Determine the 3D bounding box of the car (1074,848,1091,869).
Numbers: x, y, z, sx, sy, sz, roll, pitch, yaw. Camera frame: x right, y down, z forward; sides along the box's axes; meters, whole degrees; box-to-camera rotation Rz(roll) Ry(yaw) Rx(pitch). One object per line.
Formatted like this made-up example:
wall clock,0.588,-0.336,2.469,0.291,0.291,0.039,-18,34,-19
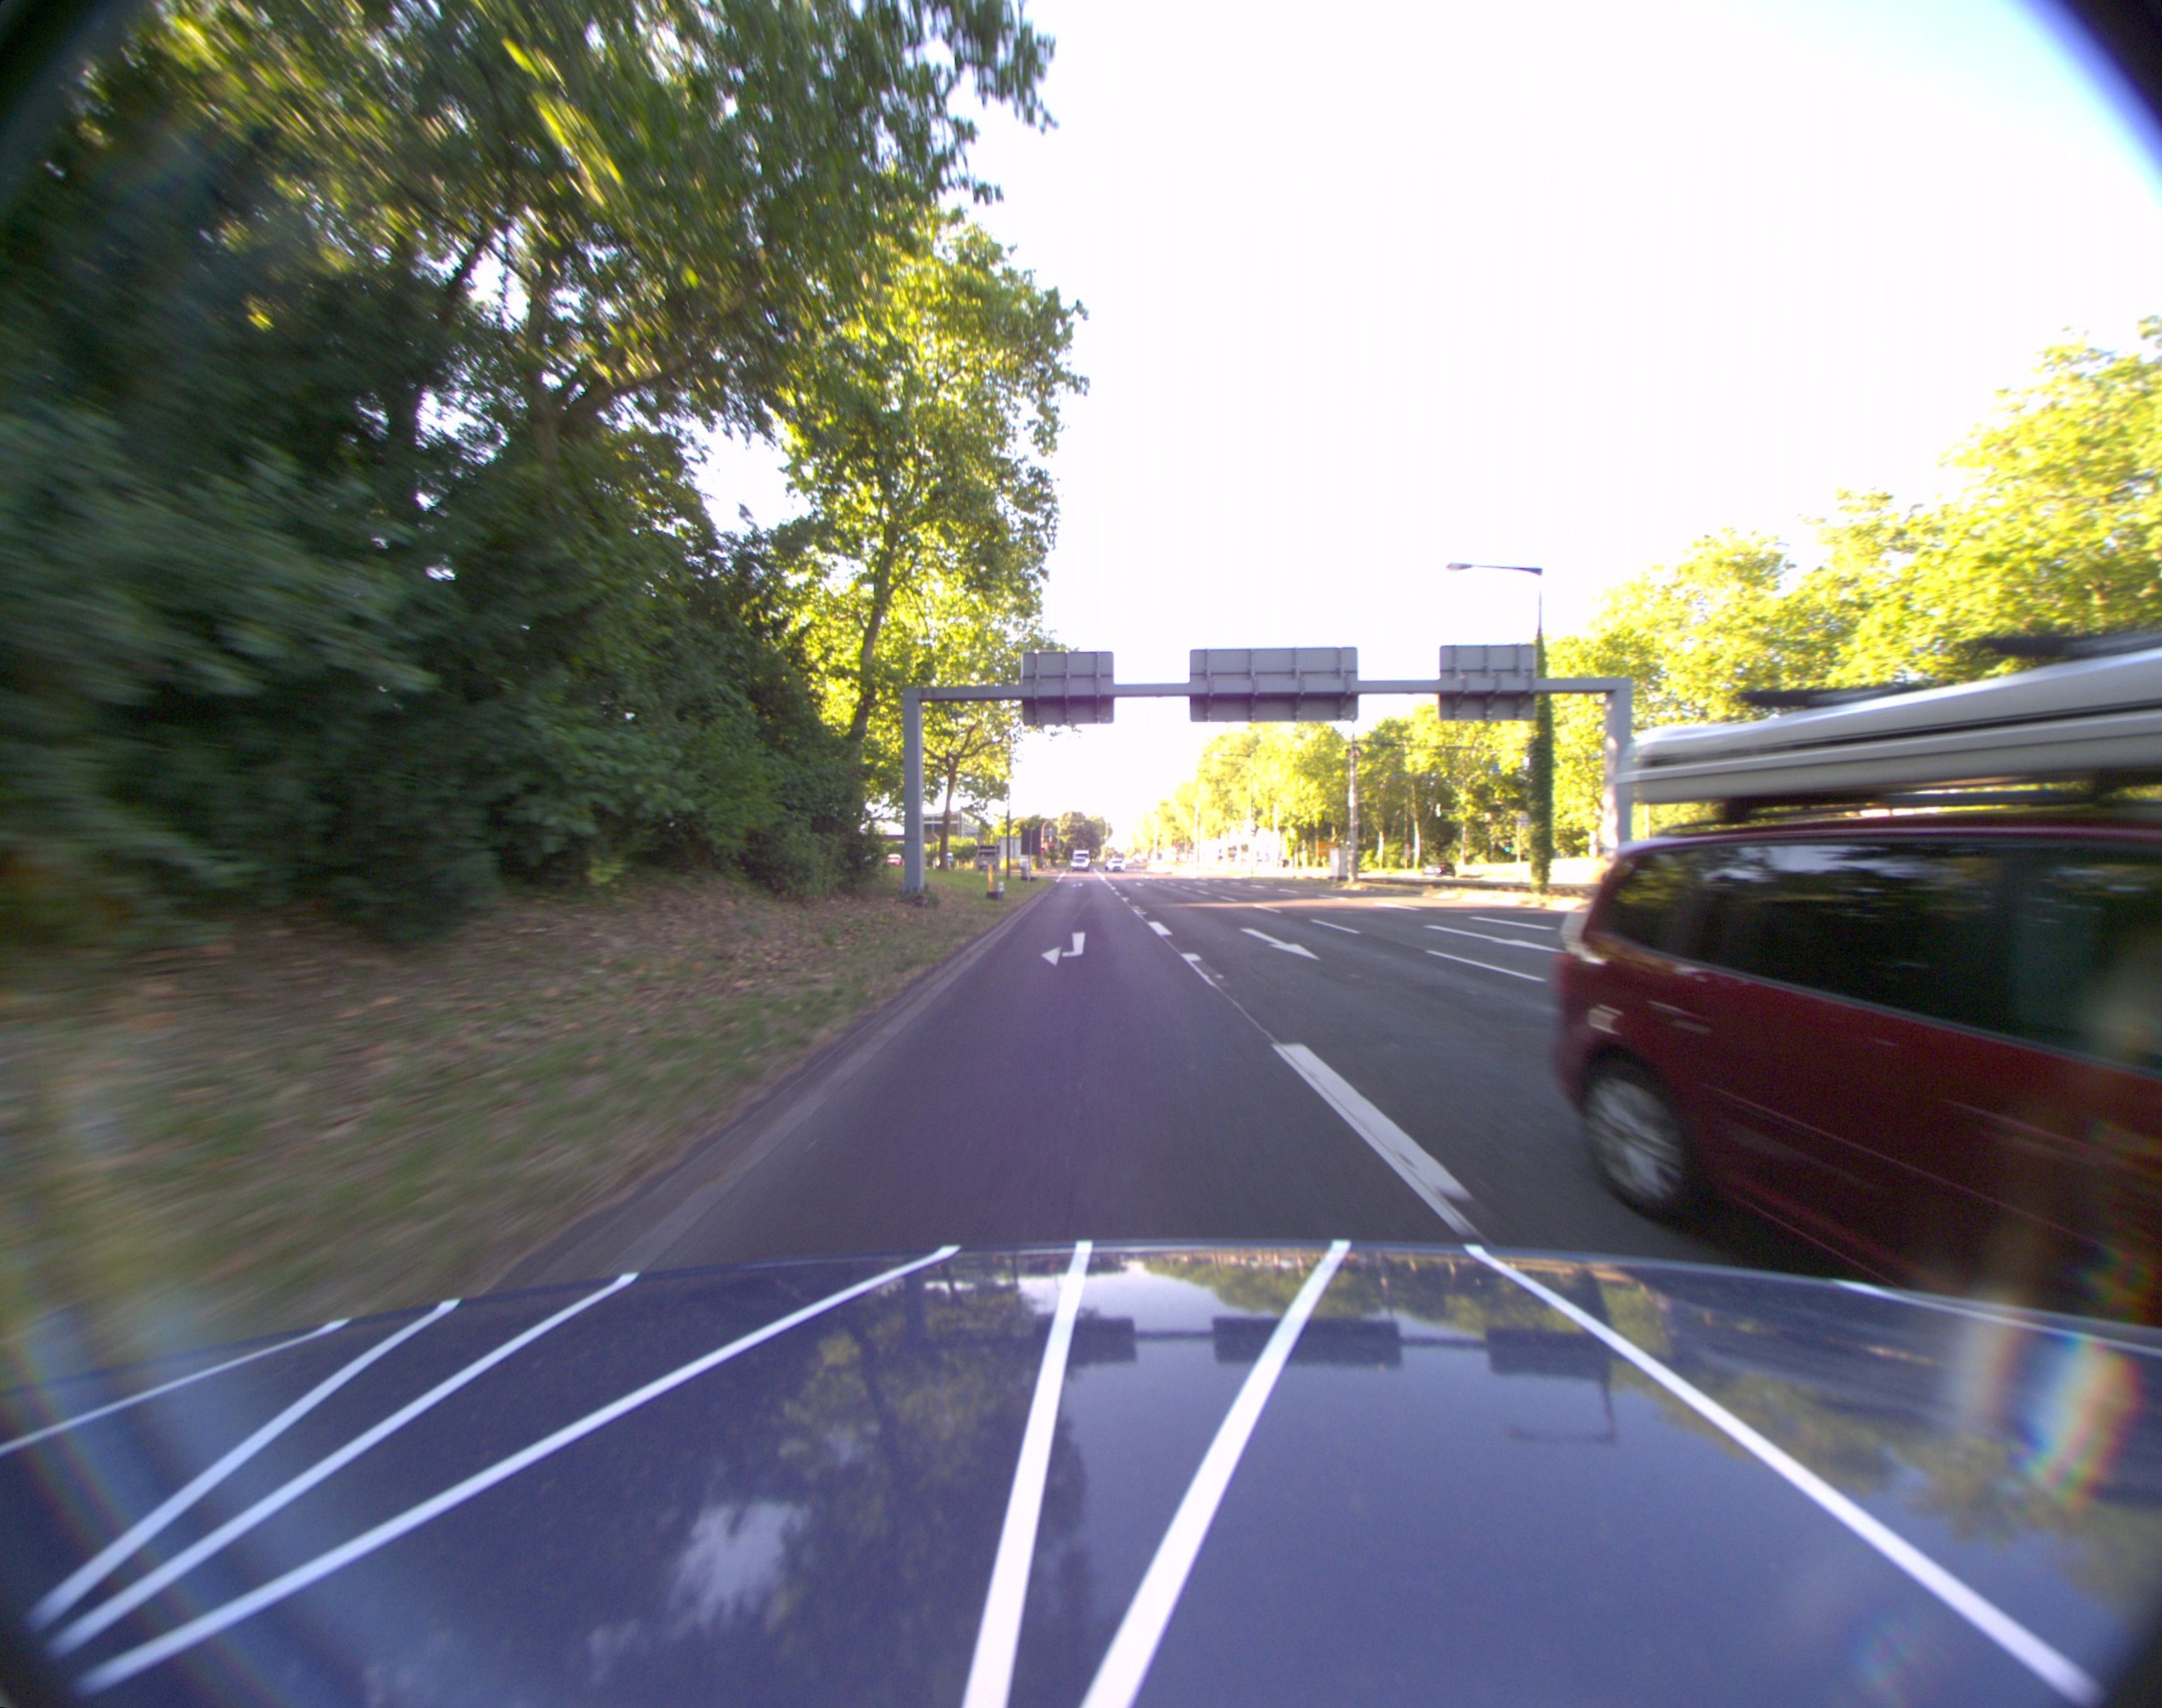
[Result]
car,0.237,0.534,96.637,2.008,2.516,5.877,1,0,1

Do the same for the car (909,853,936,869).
car,-17.225,0.748,82.858,2.119,1.638,4.000,1,-1,-1

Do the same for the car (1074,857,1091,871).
car,0.137,1.148,87.149,1.875,1.608,4.548,1,0,0

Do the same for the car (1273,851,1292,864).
car,32.522,0.629,122.933,1.998,2.054,4.191,1,0,2

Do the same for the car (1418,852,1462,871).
car,32.381,0.676,68.640,1.998,1.671,4.191,1,0,2

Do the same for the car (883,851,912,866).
car,-20.117,0.492,83.559,2.119,1.638,4.320,1,-1,-1

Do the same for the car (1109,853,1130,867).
car,4.464,0.683,88.318,1.873,1.608,4.004,1,0,11

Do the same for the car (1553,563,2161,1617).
car,3.052,0.479,1.452,1.797,2.092,4.000,1,0,1

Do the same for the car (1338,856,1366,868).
car,33.809,1.019,94.847,1.998,1.432,4.191,1,0,0
